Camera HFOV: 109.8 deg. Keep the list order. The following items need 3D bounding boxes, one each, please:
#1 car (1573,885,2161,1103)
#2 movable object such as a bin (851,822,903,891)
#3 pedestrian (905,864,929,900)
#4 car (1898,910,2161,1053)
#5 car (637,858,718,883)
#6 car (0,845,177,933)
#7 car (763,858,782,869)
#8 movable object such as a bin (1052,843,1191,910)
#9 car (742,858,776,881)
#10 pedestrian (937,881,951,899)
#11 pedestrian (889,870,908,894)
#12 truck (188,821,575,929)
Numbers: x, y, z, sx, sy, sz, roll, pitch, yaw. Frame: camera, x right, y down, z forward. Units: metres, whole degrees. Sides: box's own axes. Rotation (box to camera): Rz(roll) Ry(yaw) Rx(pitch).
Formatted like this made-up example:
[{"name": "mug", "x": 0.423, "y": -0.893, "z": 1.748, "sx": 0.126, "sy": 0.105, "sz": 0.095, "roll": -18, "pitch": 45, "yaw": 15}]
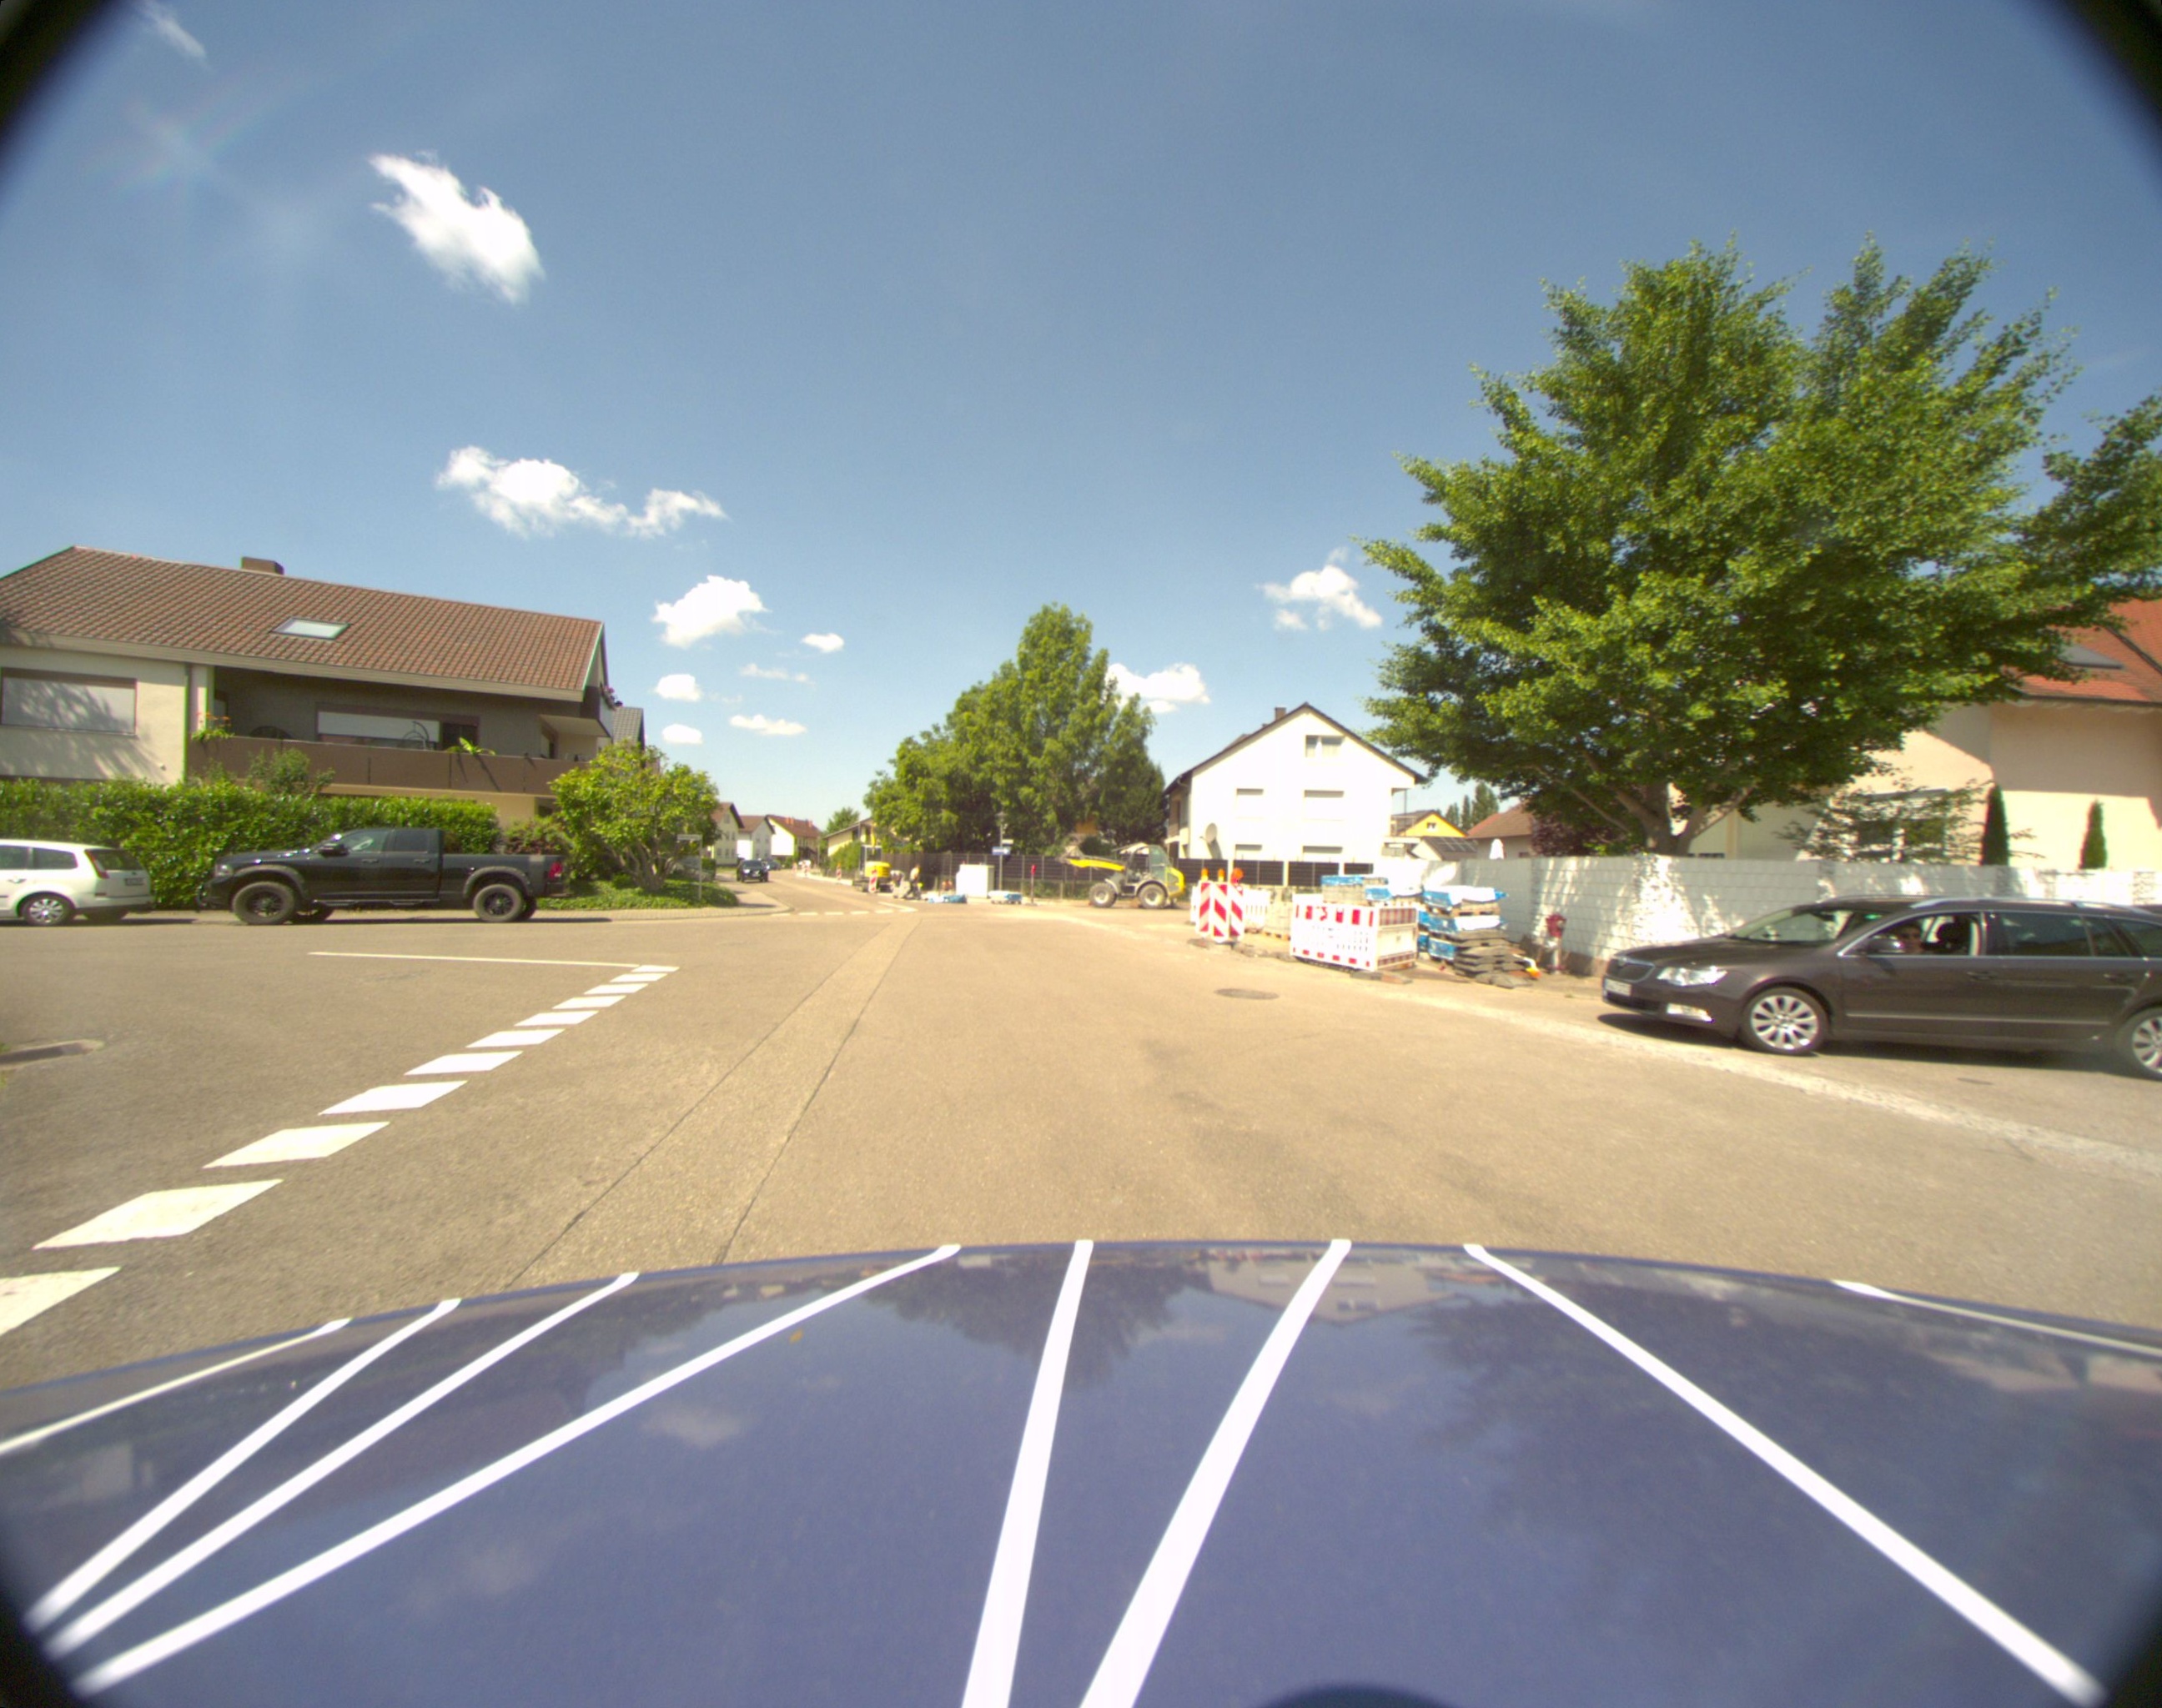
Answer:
[{"name": "car", "x": 7.693, "y": 1.266, "z": 7.250, "sx": 4.702, "sy": 1.525, "sz": 1.789, "roll": 3, "pitch": -5, "yaw": 9}, {"name": "movable object such as a bin", "x": -11.103, "y": 0.138, "z": 41.242, "sx": 2.003, "sy": 3.544, "sz": 3.807, "roll": 1, "pitch": 0, "yaw": -26}, {"name": "pedestrian", "x": -7.006, "y": 1.201, "z": 32.440, "sx": 0.852, "sy": 1.505, "sz": 0.531, "roll": 1, "pitch": 0, "yaw": -38}, {"name": "car", "x": 12.768, "y": 1.476, "z": 9.252, "sx": 4.034, "sy": 1.522, "sz": 1.718, "roll": 1, "pitch": -4, "yaw": -6}, {"name": "car", "x": -22.957, "y": 0.943, "z": 43.334, "sx": 4.006, "sy": 1.334, "sz": 1.995, "roll": 2, "pitch": 0, "yaw": -28}, {"name": "car", "x": -20.314, "y": 0.617, "z": 14.092, "sx": 4.150, "sy": 1.554, "sz": 1.799, "roll": 2, "pitch": -1, "yaw": -28}, {"name": "car", "x": -47.926, "y": 1.418, "z": 118.197, "sx": 2.000, "sy": 1.640, "sz": 3.995, "roll": 1, "pitch": 0, "yaw": -12}, {"name": "movable object such as a bin", "x": 1.624, "y": 0.887, "z": 29.917, "sx": 5.226, "sy": 2.437, "sz": 2.002, "roll": 1, "pitch": -2, "yaw": 5}, {"name": "car", "x": -22.963, "y": 1.088, "z": 54.102, "sx": 1.923, "sy": 1.533, "sz": 3.991, "roll": 2, "pitch": 0, "yaw": -28}, {"name": "pedestrian", "x": -6.319, "y": 1.661, "z": 35.104, "sx": 0.430, "sy": 0.788, "sz": 0.523, "roll": 1, "pitch": 0, "yaw": 21}, {"name": "pedestrian", "x": -9.206, "y": 1.401, "z": 38.401, "sx": 0.510, "sy": 1.162, "sz": 0.827, "roll": 1, "pitch": 0, "yaw": 22}, {"name": "truck", "x": -14.551, "y": 0.550, "z": 16.499, "sx": 5.722, "sy": 2.000, "sz": 2.367, "roll": 2, "pitch": -5, "yaw": -29}]
